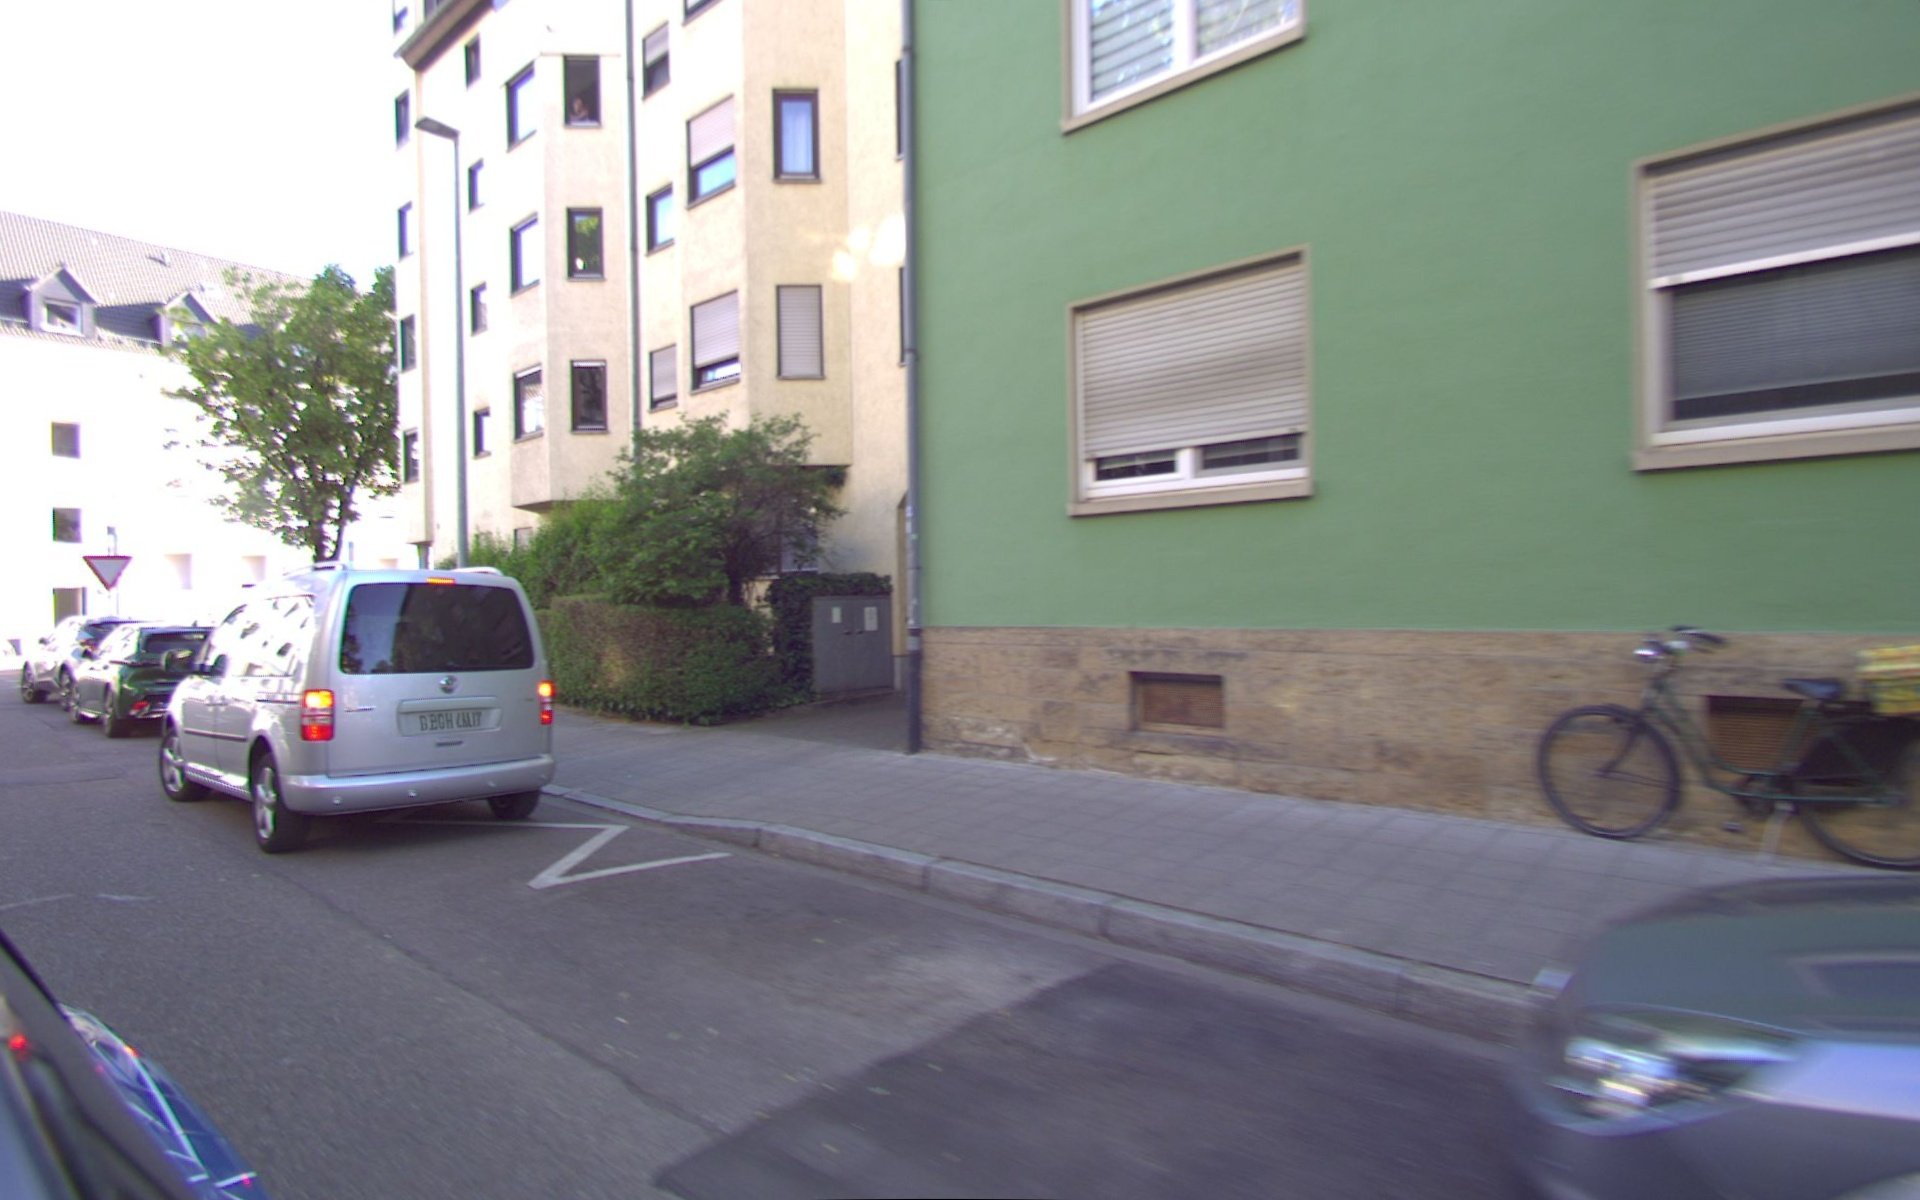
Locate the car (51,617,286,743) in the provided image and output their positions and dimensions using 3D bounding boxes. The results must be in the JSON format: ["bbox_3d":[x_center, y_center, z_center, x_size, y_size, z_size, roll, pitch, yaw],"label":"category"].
[{"bbox_3d":[-10.891,1.012,13.824,4.205,1.464,1.747,-2,-4,42],"label":"car"}]

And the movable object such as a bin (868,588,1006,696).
[{"bbox_3d":[-0.325,0.568,14.576,1.343,1.442,1.456,-1,0,42],"label":"movable object such as a bin"}]

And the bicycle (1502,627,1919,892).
[{"bbox_3d":[3.805,0.703,4.930,1.969,1.083,0.482,-1,4,42],"label":"bicycle"}]

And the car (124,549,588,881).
[{"bbox_3d":[-4.825,0.685,7.796,4.413,1.857,1.753,-1,-2,41],"label":"car"}]

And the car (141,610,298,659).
[{"bbox_3d":[-27.224,1.229,37.353,1.994,1.569,4.238,-1,0,33],"label":"car"}]

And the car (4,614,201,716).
[{"bbox_3d":[-14.831,1.053,17.447,4.066,1.567,1.703,-1,-2,37],"label":"car"}]

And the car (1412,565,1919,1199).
[{"bbox_3d":[3.062,0.698,1.002,4.503,1.473,1.702,-1,-3,40],"label":"car"}]
